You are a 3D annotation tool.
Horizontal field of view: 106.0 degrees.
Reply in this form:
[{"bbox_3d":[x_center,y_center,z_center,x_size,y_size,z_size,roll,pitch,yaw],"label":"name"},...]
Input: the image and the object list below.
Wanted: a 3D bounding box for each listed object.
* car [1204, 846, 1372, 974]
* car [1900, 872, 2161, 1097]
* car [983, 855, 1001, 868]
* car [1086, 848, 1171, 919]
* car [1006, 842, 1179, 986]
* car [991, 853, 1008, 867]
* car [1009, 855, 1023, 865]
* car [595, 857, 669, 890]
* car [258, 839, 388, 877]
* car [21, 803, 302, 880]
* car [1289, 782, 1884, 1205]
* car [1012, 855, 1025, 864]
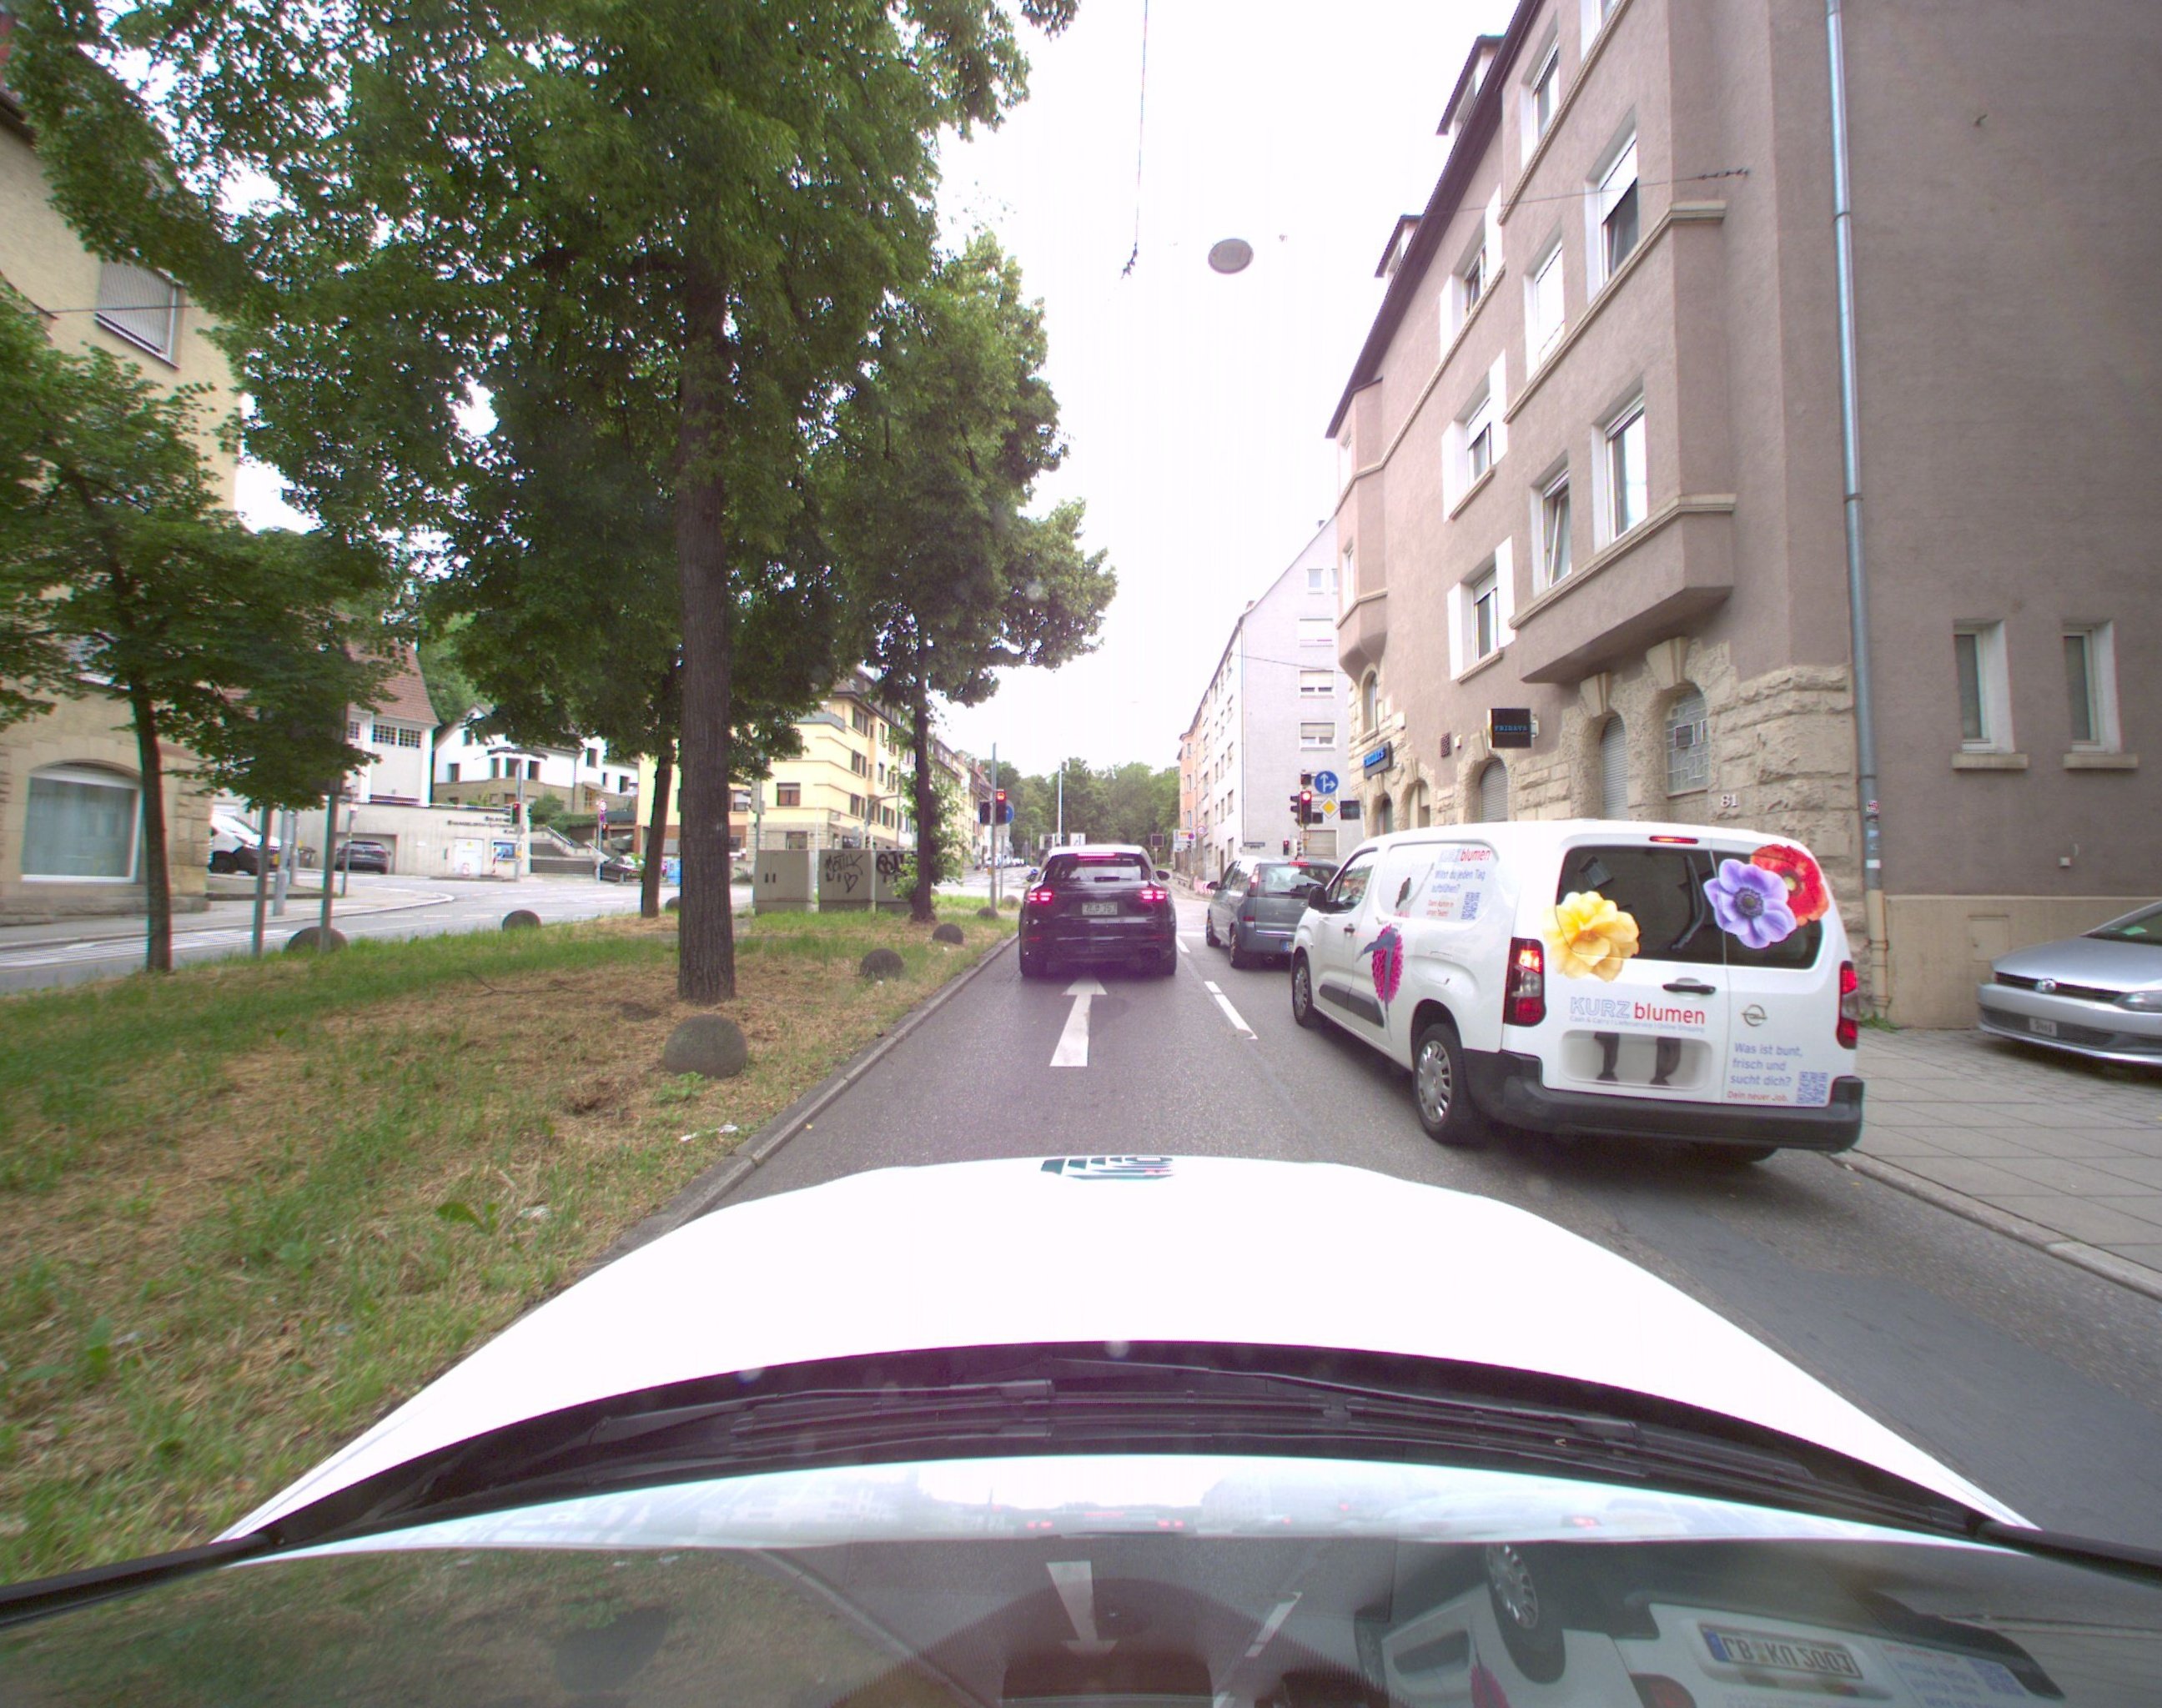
[{"bbox_3d":[3.005,0.750,12.553,1.745,1.593,3.632,3,0,2],"label":"car"},{"bbox_3d":[9.254,0.908,6.286,3.971,1.403,1.802,0,2,2],"label":"car"},{"bbox_3d":[-11.253,0.949,103.557,1.788,1.510,4.001,0,0,1],"label":"car"},{"bbox_3d":[1.227,0.726,21.163,1.986,1.653,4.003,-1,-1,3],"label":"car"},{"bbox_3d":[0.248,0.683,11.453,1.986,1.653,4.004,-1,0,3],"label":"car"},{"bbox_3d":[-10.868,0.776,108.577,1.788,1.810,4.001,0,0,1],"label":"car"},{"bbox_3d":[-10.320,0.908,129.962,1.788,1.510,4.001,0,0,1],"label":"car"},{"bbox_3d":[-23.934,1.048,43.346,3.948,1.665,1.894,-1,-2,35],"label":"car"},{"bbox_3d":[-32.563,0.181,35.138,4.021,1.510,1.779,1,0,-41],"label":"car"},{"bbox_3d":[-27.348,-0.314,24.509,5.186,2.064,1.982,2,-1,-21],"label":"car"},{"bbox_3d":[2.877,0.664,6.155,1.840,1.825,5.029,1,-1,6],"label":"car"},{"bbox_3d":[-10.351,0.879,134.864,1.788,1.510,4.001,0,0,1],"label":"car"}]
